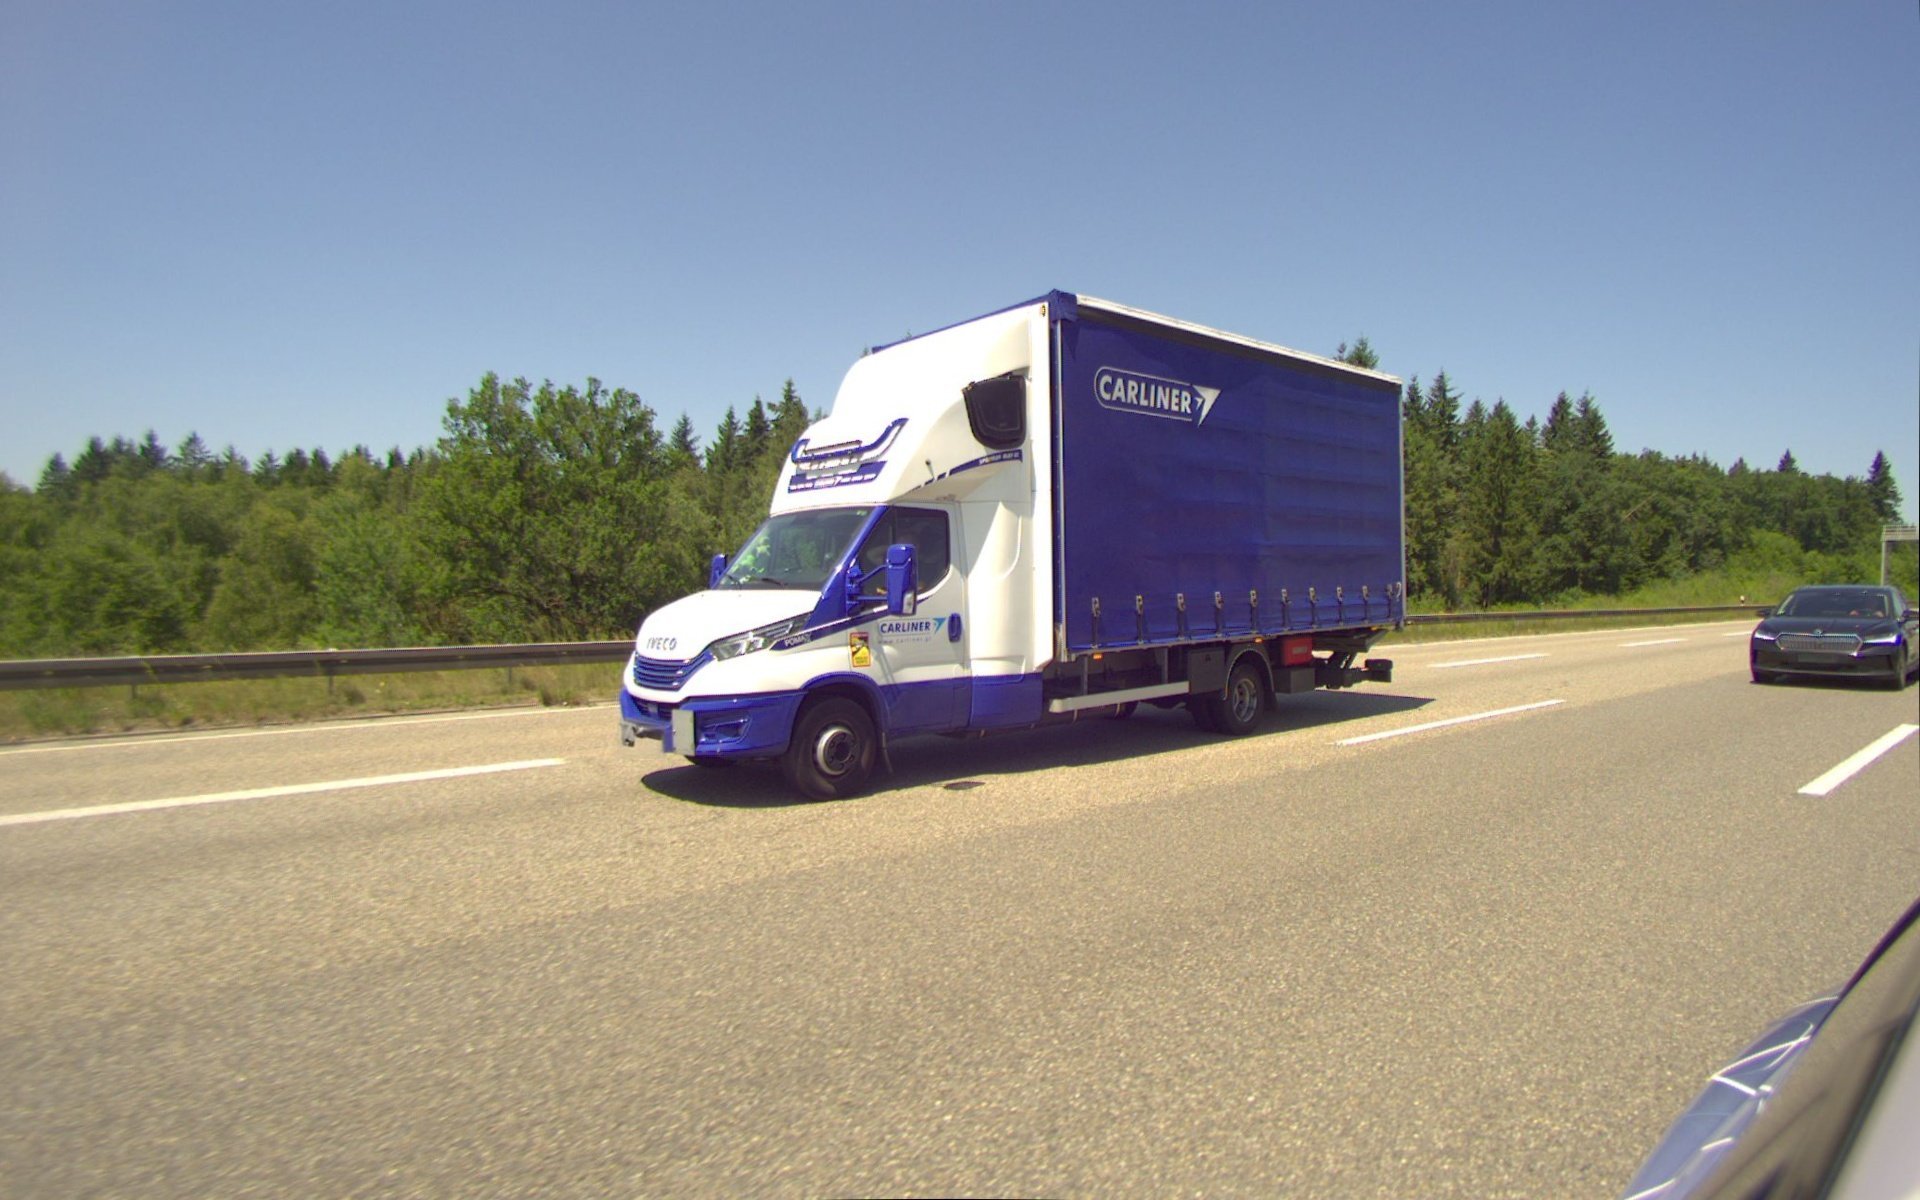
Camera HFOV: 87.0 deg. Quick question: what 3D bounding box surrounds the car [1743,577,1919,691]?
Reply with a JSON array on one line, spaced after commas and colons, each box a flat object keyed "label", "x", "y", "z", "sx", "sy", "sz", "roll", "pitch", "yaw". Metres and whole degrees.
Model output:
[{"label": "car", "x": 14.762, "y": 0.451, "z": 16.753, "sx": 4.379, "sy": 1.639, "sz": 1.988, "roll": -1, "pitch": 1, "yaw": -40}]

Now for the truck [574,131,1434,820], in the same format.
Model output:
[{"label": "truck", "x": 1.355, "y": -0.823, "z": 10.384, "sx": 9.572, "sy": 4.180, "sz": 2.787, "roll": -1, "pitch": 0, "yaw": -42}]
